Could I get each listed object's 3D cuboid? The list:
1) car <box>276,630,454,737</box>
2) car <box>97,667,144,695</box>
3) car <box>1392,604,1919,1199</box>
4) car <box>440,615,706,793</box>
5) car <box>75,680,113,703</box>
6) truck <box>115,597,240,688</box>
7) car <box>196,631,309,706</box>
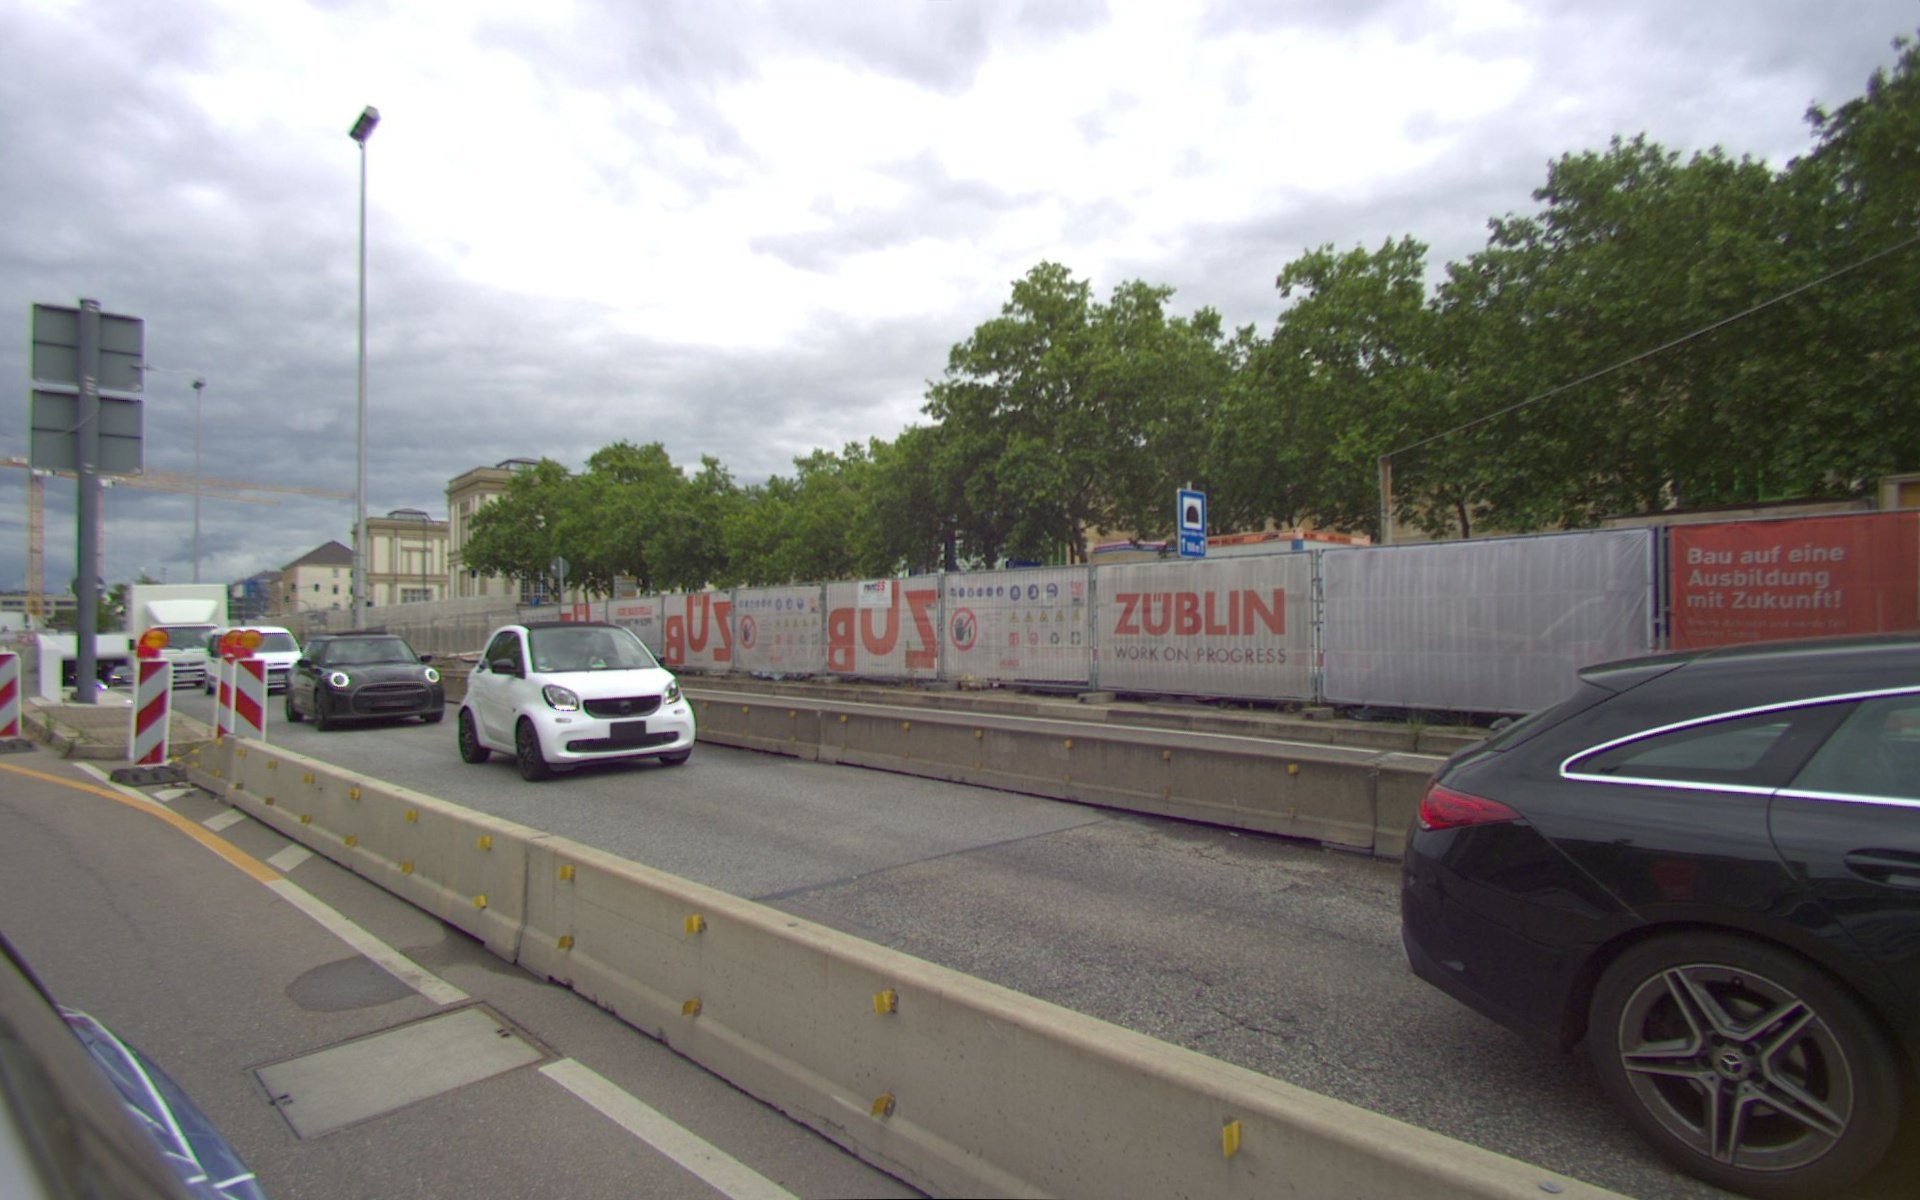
[{"bbox_3d":[-9.609,1.243,16.218,1.628,1.450,3.939,-1,-1,-43],"label":"car"},{"bbox_3d":[-54.766,5.279,66.006,4.000,1.519,1.848,-2,1,43],"label":"car"},{"bbox_3d":[3.518,0.716,1.952,1.832,1.426,4.570,-1,0,-43],"label":"car"},{"bbox_3d":[-4.192,0.983,10.765,1.611,1.566,3.005,-1,-1,-43],"label":"car"},{"bbox_3d":[-70.543,7.424,82.424,4.000,1.519,1.848,-2,1,43],"label":"car"},{"bbox_3d":[-26.960,1.409,34.720,2.934,2.795,7.265,1,-2,-41],"label":"truck"},{"bbox_3d":[-18.581,1.705,26.502,1.816,1.774,4.485,1,-2,-43],"label":"car"}]
